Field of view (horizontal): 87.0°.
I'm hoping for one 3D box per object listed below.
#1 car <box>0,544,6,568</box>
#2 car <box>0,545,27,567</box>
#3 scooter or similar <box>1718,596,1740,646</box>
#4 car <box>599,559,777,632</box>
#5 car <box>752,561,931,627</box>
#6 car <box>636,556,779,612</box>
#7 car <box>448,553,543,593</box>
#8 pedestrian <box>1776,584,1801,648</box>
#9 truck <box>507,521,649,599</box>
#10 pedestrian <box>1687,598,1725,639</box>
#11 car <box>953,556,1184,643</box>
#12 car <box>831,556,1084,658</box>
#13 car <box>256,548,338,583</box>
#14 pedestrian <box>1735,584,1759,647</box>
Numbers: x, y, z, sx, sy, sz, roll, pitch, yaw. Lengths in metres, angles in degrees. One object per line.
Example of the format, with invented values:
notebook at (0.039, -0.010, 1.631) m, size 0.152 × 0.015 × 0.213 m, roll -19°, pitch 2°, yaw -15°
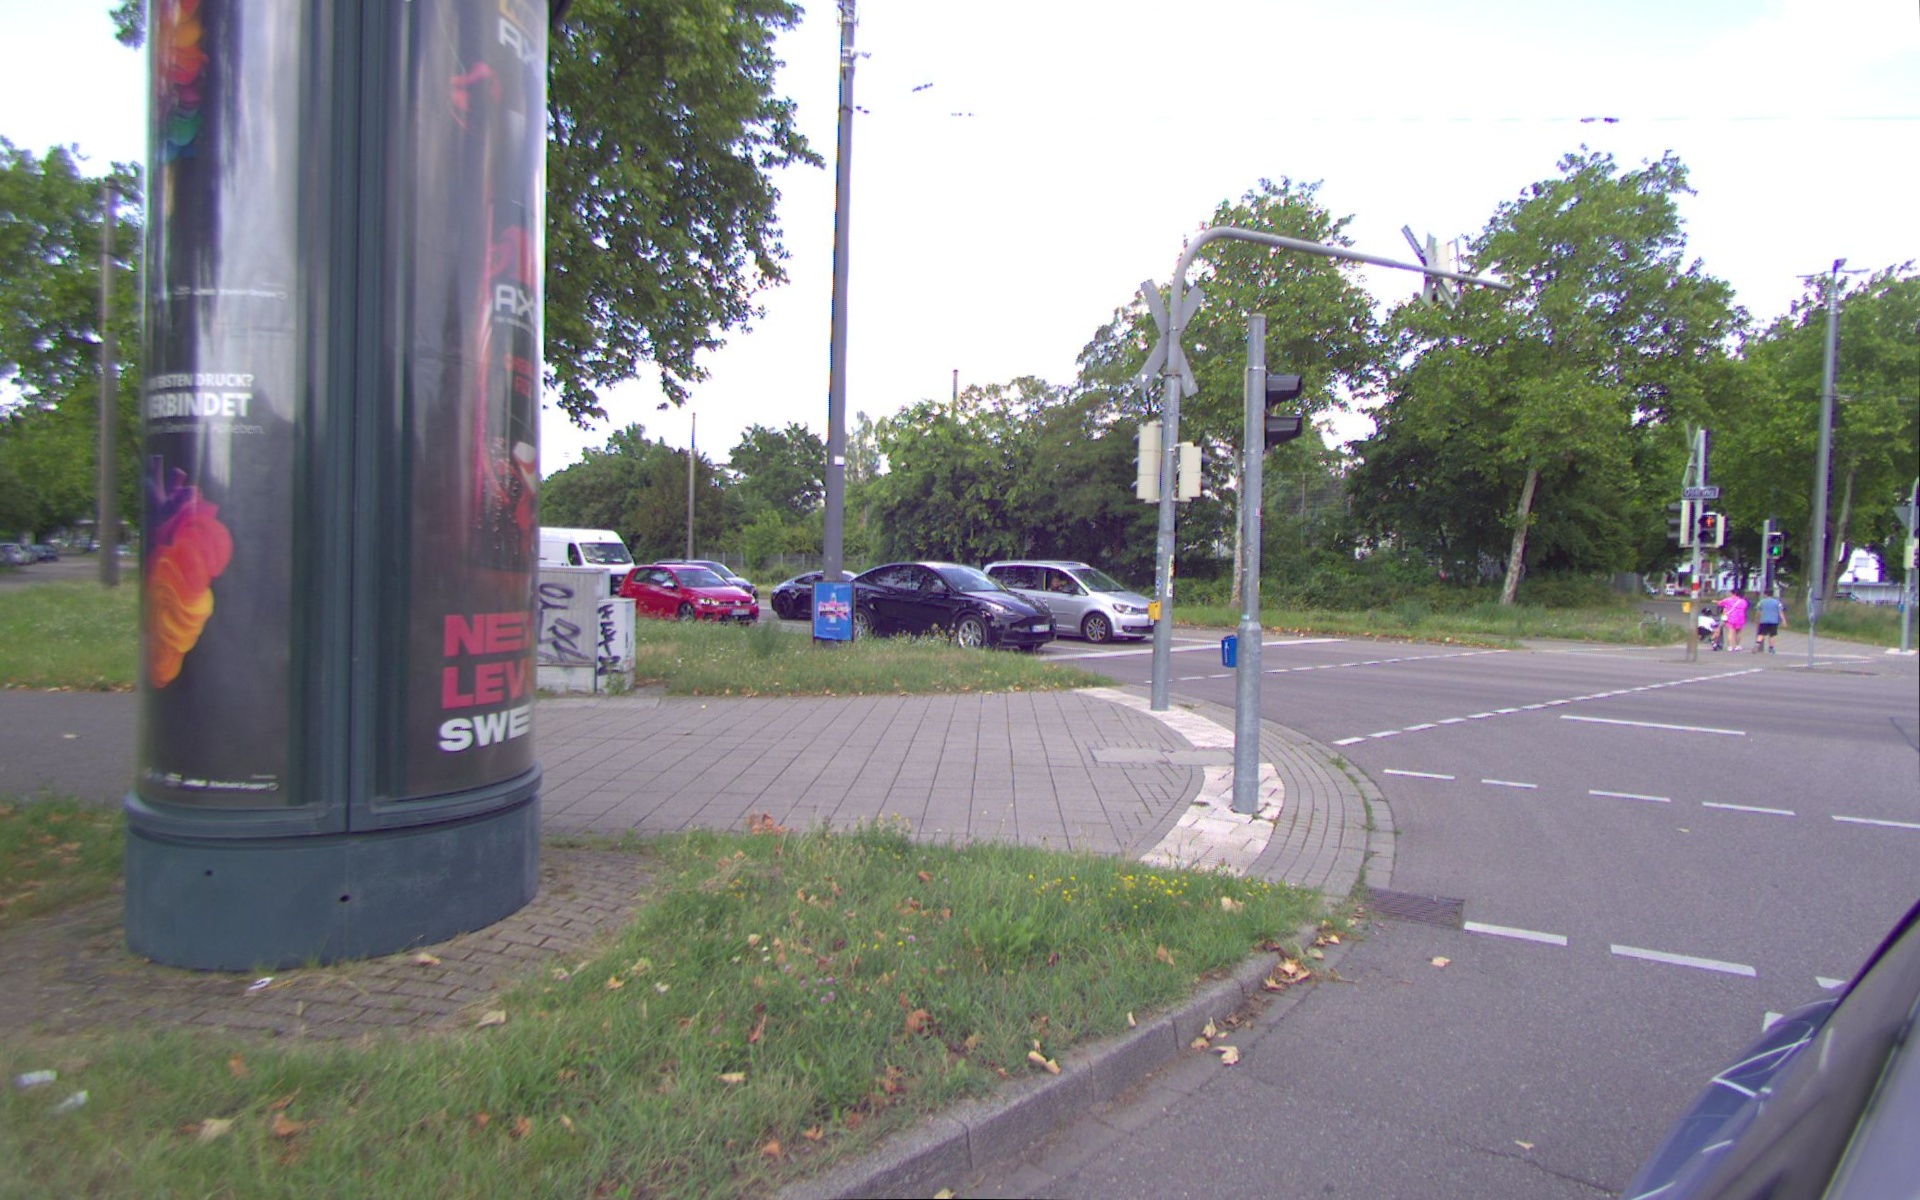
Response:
car at (-58.267, -2.650, 60.399) m, size 1.649 × 1.408 × 3.304 m, roll 0°, pitch 2°, yaw -39°
car at (-63.622, -2.981, 67.638) m, size 1.649 × 1.408 × 3.304 m, roll 0°, pitch 2°, yaw -39°
scooter or similar at (19.069, 0.509, 25.092) m, size 0.393 × 1.175 × 1.101 m, roll 2°, pitch 2°, yaw 38°
car at (-6.693, -0.185, 24.606) m, size 4.669 × 1.532 × 1.970 m, roll 3°, pitch 3°, yaw 42°
car at (-3.133, -0.235, 26.127) m, size 4.731 × 1.487 × 1.970 m, roll 3°, pitch 3°, yaw 42°
car at (-7.741, -0.540, 30.755) m, size 4.669 × 1.532 × 1.970 m, roll 3°, pitch 3°, yaw 42°
car at (-19.719, -1.172, 42.860) m, size 4.669 × 1.532 × 1.970 m, roll 3°, pitch 3°, yaw 42°
pedestrian at (19.920, 0.373, 24.339) m, size 0.417 × 1.527 × 0.444 m, roll 2°, pitch 2°, yaw 40°
truck at (-14.006, -1.476, 36.831) m, size 6.487 × 2.628 × 2.183 m, roll 3°, pitch 2°, yaw 43°
pedestrian at (20.044, 0.494, 27.174) m, size 0.720 × 1.047 × 0.888 m, roll 3°, pitch 2°, yaw 42°
car at (2.242, -0.101, 21.796) m, size 4.669 × 1.630 × 1.970 m, roll 3°, pitch 3°, yaw 42°
car at (-0.152, 0.025, 19.064) m, size 4.670 × 1.630 × 1.970 m, roll 3°, pitch 3°, yaw 42°
car at (-31.117, -1.662, 47.437) m, size 4.666 × 1.532 × 1.972 m, roll 3°, pitch 3°, yaw 40°
pedestrian at (19.381, 0.364, 24.923) m, size 0.418 × 1.527 × 0.387 m, roll 2°, pitch 2°, yaw 40°
